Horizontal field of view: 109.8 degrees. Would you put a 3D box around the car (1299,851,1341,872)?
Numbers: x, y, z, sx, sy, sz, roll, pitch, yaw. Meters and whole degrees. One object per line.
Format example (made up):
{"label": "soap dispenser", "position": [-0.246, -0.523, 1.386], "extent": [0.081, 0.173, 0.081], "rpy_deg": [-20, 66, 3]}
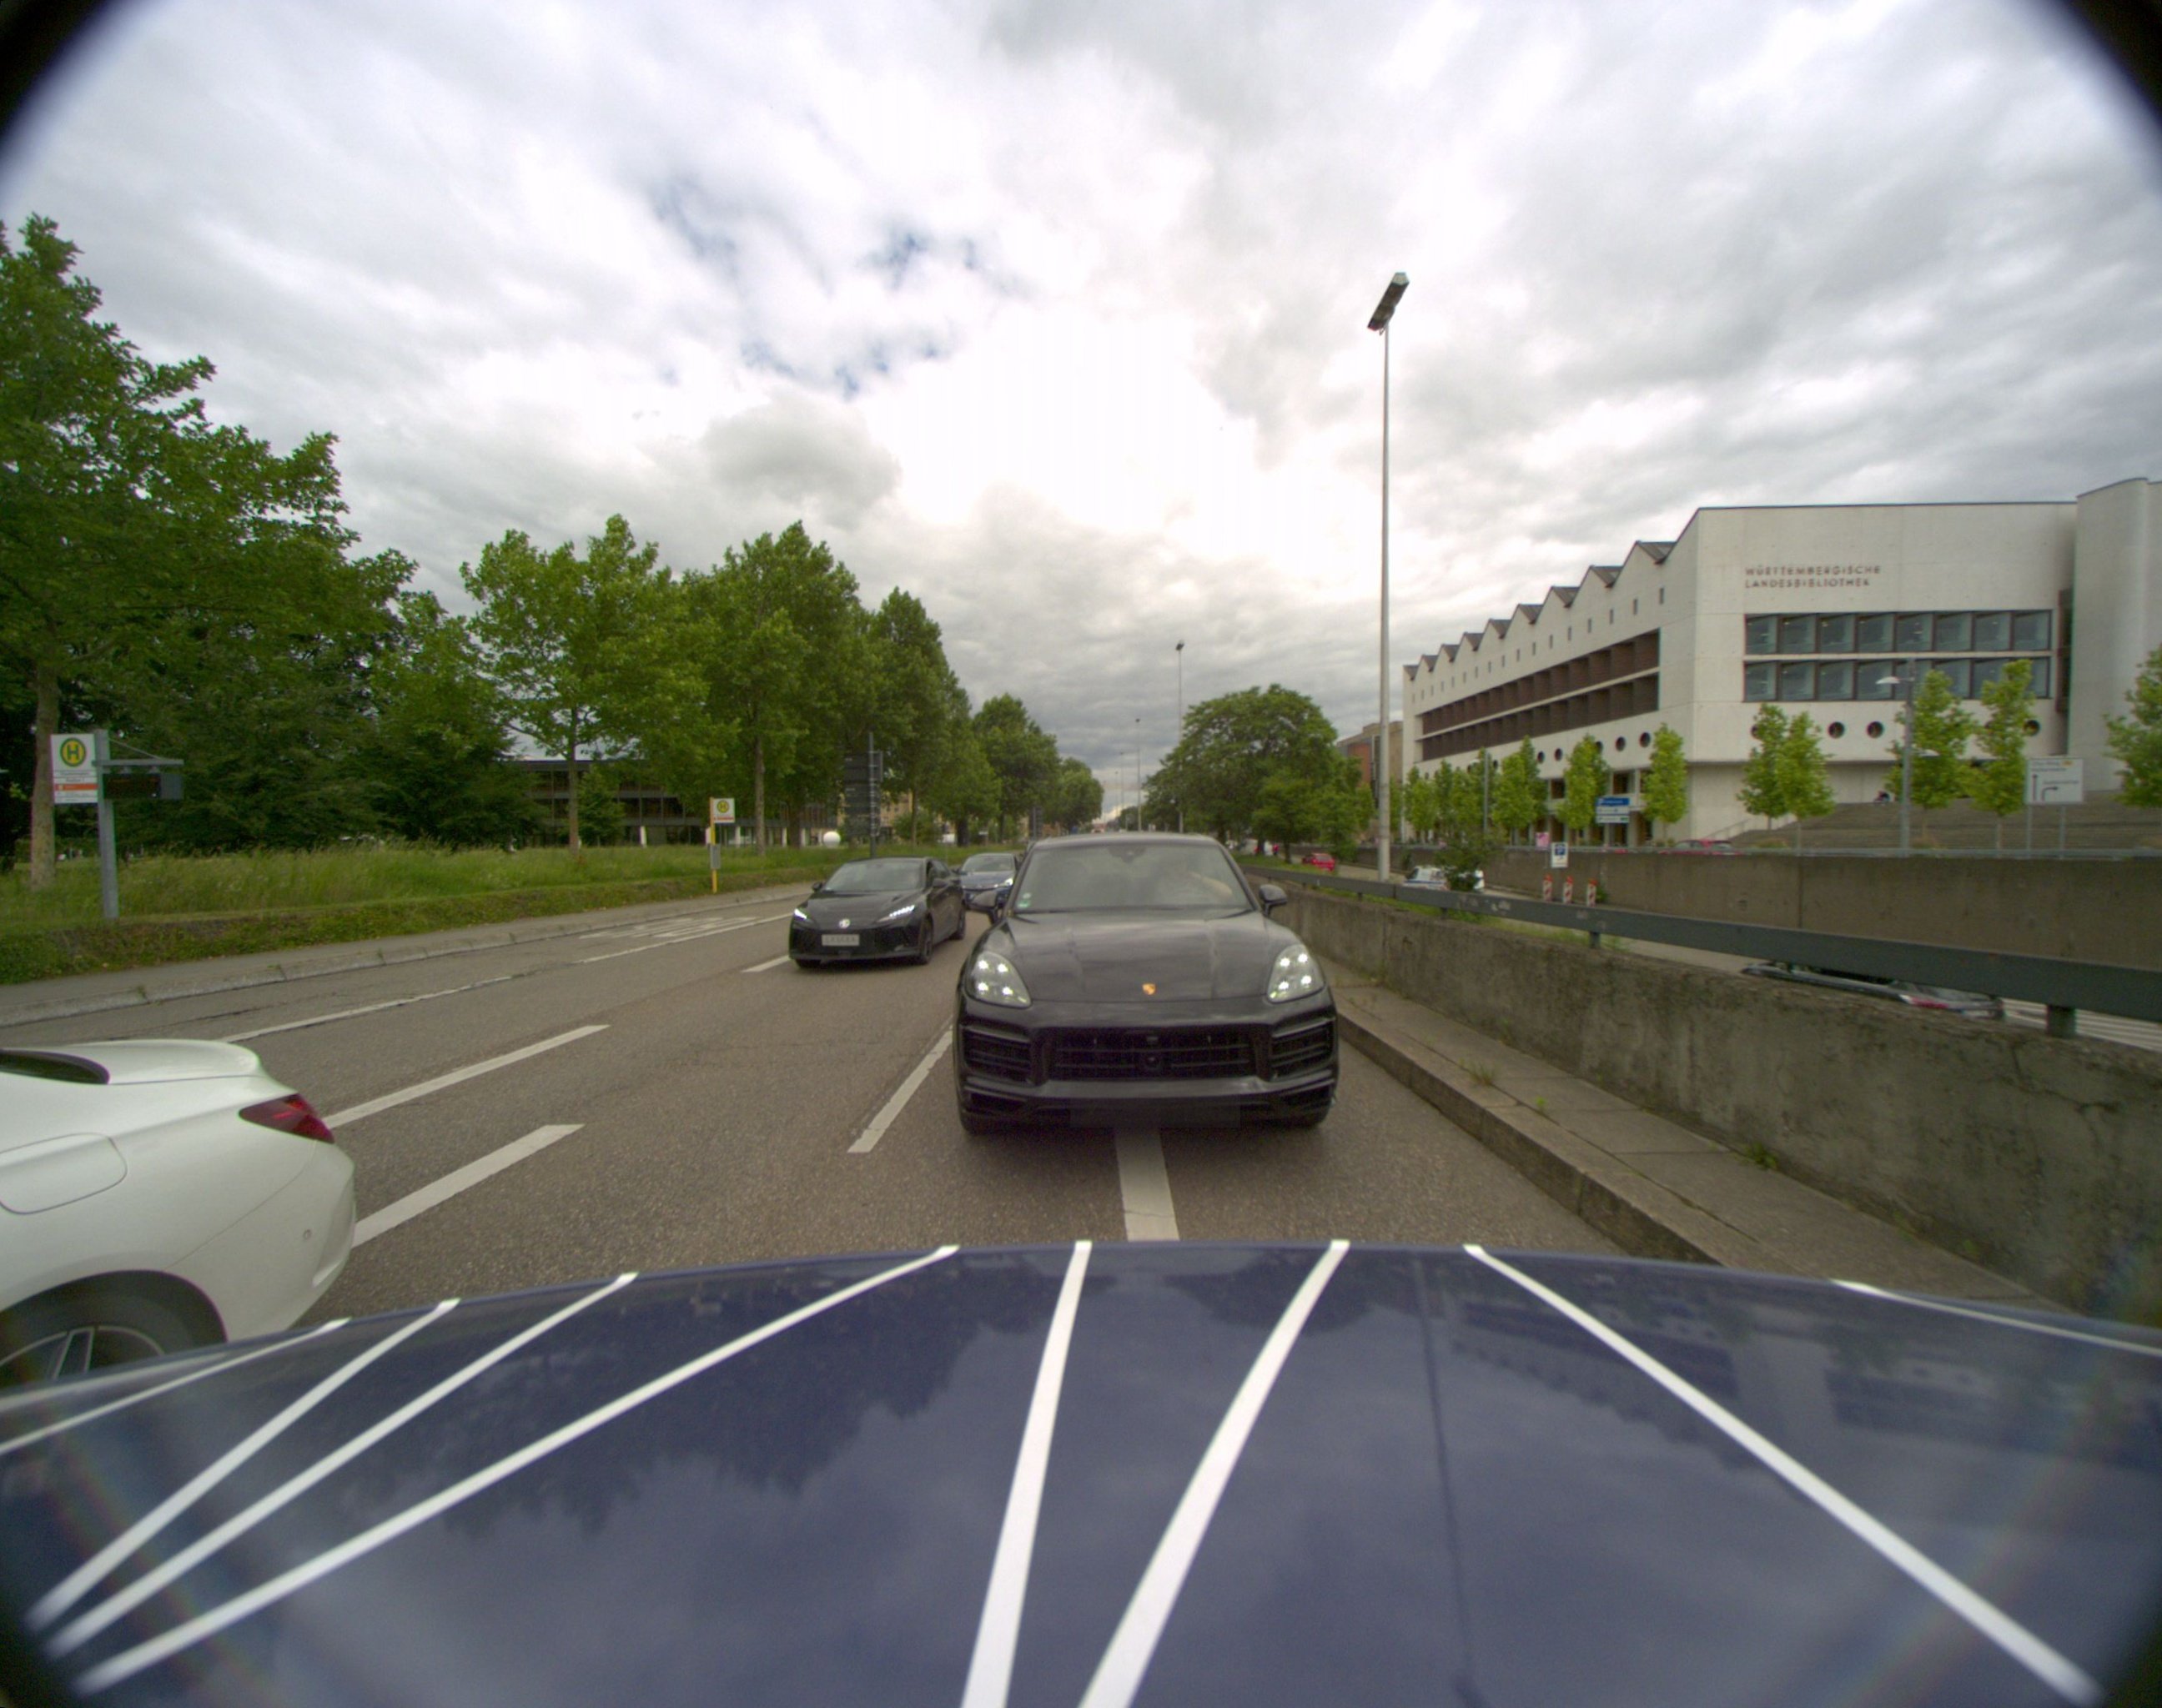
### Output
{"label": "car", "position": [17.757, 0.549, 56.684], "extent": [1.998, 1.477, 4.000], "rpy_deg": [-1, 1, 2]}

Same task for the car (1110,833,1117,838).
{"label": "car", "position": [10.599, -6.009, 245.516], "extent": [1.998, 1.753, 3.999], "rpy_deg": [2, 2, 0]}

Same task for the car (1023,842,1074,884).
{"label": "car", "position": [-1.479, 0.358, 36.032], "extent": [2.021, 1.823, 4.804], "rpy_deg": [-1, 1, 2]}

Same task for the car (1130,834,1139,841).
{"label": "car", "position": [11.221, -3.441, 159.562], "extent": [1.442, 1.390, 3.721], "rpy_deg": [2, 1, 0]}

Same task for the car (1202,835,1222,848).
{"label": "car", "position": [17.073, -1.672, 99.028], "extent": [1.779, 1.481, 4.143], "rpy_deg": [0, 4, 0]}

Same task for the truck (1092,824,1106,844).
{"label": "truck", "position": [3.476, -3.790, 142.711], "extent": [2.357, 3.518, 9.423], "rpy_deg": [-3, 2, 2]}

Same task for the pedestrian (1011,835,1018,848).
{"label": "pedestrian", "position": [-10.405, -1.979, 119.270], "extent": [0.892, 2.002, 1.181], "rpy_deg": [-3, 2, 2]}

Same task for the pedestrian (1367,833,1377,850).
{"label": "pedestrian", "position": [35.758, -1.515, 93.421], "extent": [0.722, 2.002, 1.016], "rpy_deg": [-3, 2, 2]}

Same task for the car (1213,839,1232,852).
{"label": "car", "position": [20.690, -1.278, 111.326], "extent": [1.998, 1.753, 3.999], "rpy_deg": [2, 2, 0]}

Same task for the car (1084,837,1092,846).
{"label": "car", "position": [1.582, -2.776, 169.908], "extent": [1.693, 2.002, 3.999], "rpy_deg": [-3, 2, 2]}

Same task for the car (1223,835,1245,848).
{"label": "car", "position": [20.123, -1.669, 100.119], "extent": [1.780, 1.481, 4.142], "rpy_deg": [0, 4, -2]}

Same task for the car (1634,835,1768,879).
{"label": "car", "position": [28.307, 0.117, 34.920], "extent": [2.180, 1.844, 4.734], "rpy_deg": [-1, 1, -3]}

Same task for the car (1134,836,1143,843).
{"label": "car", "position": [11.513, -2.909, 151.222], "extent": [1.372, 1.389, 3.722], "rpy_deg": [-1, -1, -1]}

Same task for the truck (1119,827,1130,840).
{"label": "truck", "position": [11.015, -5.238, 193.741], "extent": [2.576, 3.289, 8.078], "rpy_deg": [-3, 2, 2]}

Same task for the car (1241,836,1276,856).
{"label": "car", "position": [17.542, -0.797, 75.301], "extent": [1.999, 1.630, 5.246], "rpy_deg": [5, 3, -1]}

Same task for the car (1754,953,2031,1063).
{"label": "car", "position": [17.534, 3.262, 16.763], "extent": [1.880, 1.539, 3.999], "rpy_deg": [-1, 1, 1]}

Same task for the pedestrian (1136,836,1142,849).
{"label": "pedestrian", "position": [9.527, -1.897, 124.823], "extent": [0.792, 2.002, 0.741], "rpy_deg": [-1, 0, 2]}

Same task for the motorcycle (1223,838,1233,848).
{"label": "motorcycle", "position": [17.791, -1.329, 92.045], "extent": [0.687, 1.092, 2.049], "rpy_deg": [3, 4, 1]}

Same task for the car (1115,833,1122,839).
{"label": "car", "position": [11.315, -5.596, 231.282], "extent": [1.998, 1.753, 3.999], "rpy_deg": [2, 2, 0]}

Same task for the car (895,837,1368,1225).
{"label": "car", "position": [0.331, 0.691, 5.483], "extent": [1.904, 1.581, 4.732], "rpy_deg": [-1, 1, 3]}

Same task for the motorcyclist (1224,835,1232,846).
{"label": "motorcyclist", "position": [17.802, -1.659, 92.017], "extent": [0.671, 1.345, 0.717], "rpy_deg": [3, 4, 0]}

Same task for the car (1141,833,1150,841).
{"label": "car", "position": [11.959, -3.144, 141.901], "extent": [1.372, 1.390, 3.721], "rpy_deg": [2, 1, 0]}

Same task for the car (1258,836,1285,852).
{"label": "car", "position": [20.927, -1.135, 83.694], "extent": [1.780, 1.481, 4.142], "rpy_deg": [0, 4, -2]}

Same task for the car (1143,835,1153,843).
{"label": "car", "position": [11.857, -2.693, 134.191], "extent": [1.372, 1.390, 3.721], "rpy_deg": [2, 1, 0]}

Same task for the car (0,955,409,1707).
{"label": "car", "position": [-3.184, 1.099, 0.213], "extent": [1.799, 1.412, 4.526], "rpy_deg": [-1, 1, 2]}

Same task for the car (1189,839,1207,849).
{"label": "car", "position": [17.098, -1.543, 111.564], "extent": [1.998, 1.390, 3.999], "rpy_deg": [2, 1, 0]}

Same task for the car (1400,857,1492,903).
{"label": "car", "position": [17.430, 1.175, 36.603], "extent": [2.223, 2.002, 5.117], "rpy_deg": [-1, 1, 4]}

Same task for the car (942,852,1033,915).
{"label": "car", "position": [-2.426, 0.716, 20.692], "extent": [1.805, 1.426, 4.015], "rpy_deg": [-1, 1, 2]}

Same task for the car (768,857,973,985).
{"label": "car", "position": [-2.958, 0.866, 11.667], "extent": [1.852, 1.481, 4.092], "rpy_deg": [-1, 1, 2]}

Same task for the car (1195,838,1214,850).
{"label": "car", "position": [17.312, -1.410, 106.593], "extent": [1.998, 1.665, 4.516], "rpy_deg": [2, 1, 0]}
